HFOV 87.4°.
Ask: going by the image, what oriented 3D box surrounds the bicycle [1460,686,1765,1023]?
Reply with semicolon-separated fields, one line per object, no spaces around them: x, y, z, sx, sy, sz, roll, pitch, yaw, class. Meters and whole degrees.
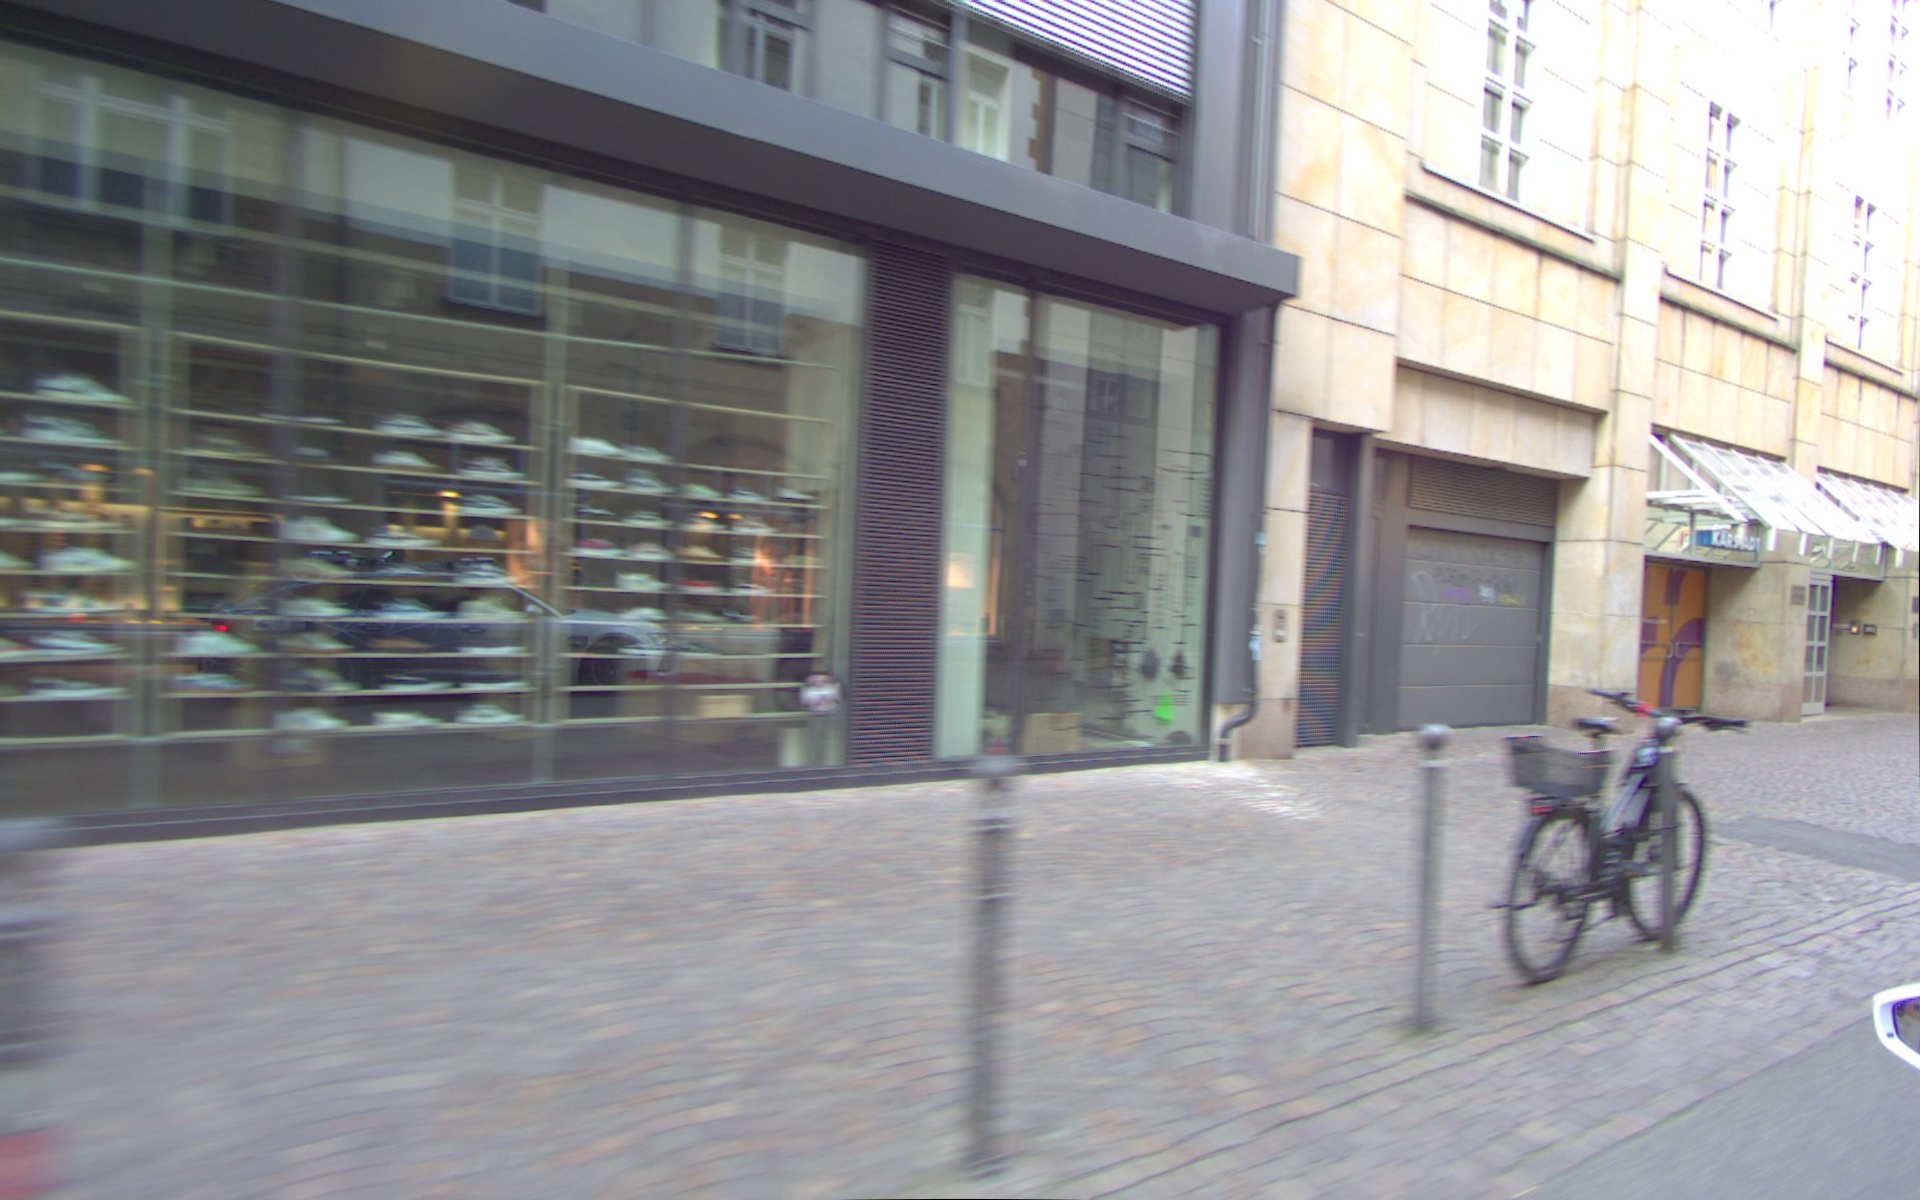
2.912;0.992;4.392;1.912;1.147;0.407;2;1;-36;bicycle
